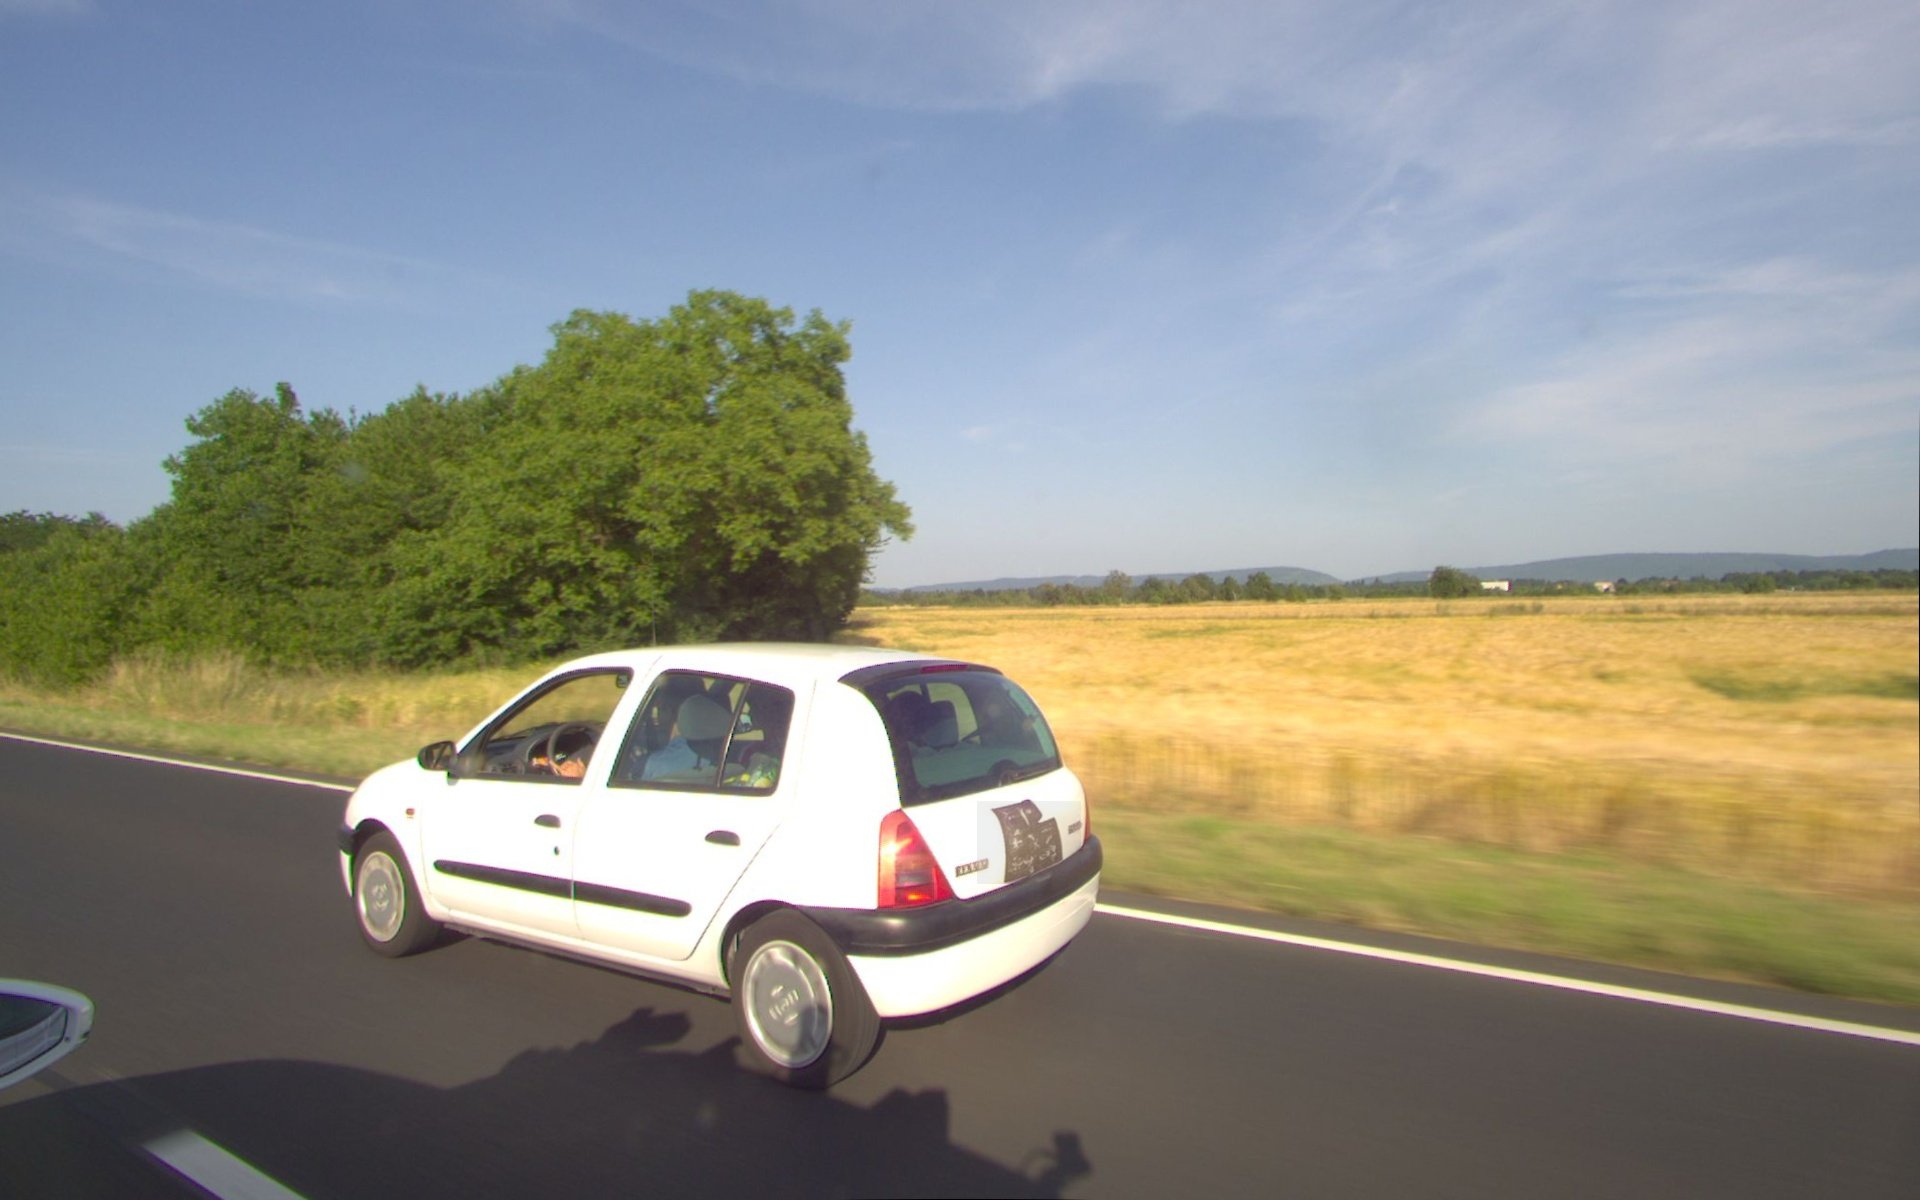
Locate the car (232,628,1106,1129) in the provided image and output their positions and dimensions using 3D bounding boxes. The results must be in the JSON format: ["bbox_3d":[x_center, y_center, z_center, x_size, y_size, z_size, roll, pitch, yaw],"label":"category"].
[{"bbox_3d":[-1.456,0.867,4.544,3.894,1.404,1.615,-2,-3,31],"label":"car"}]
